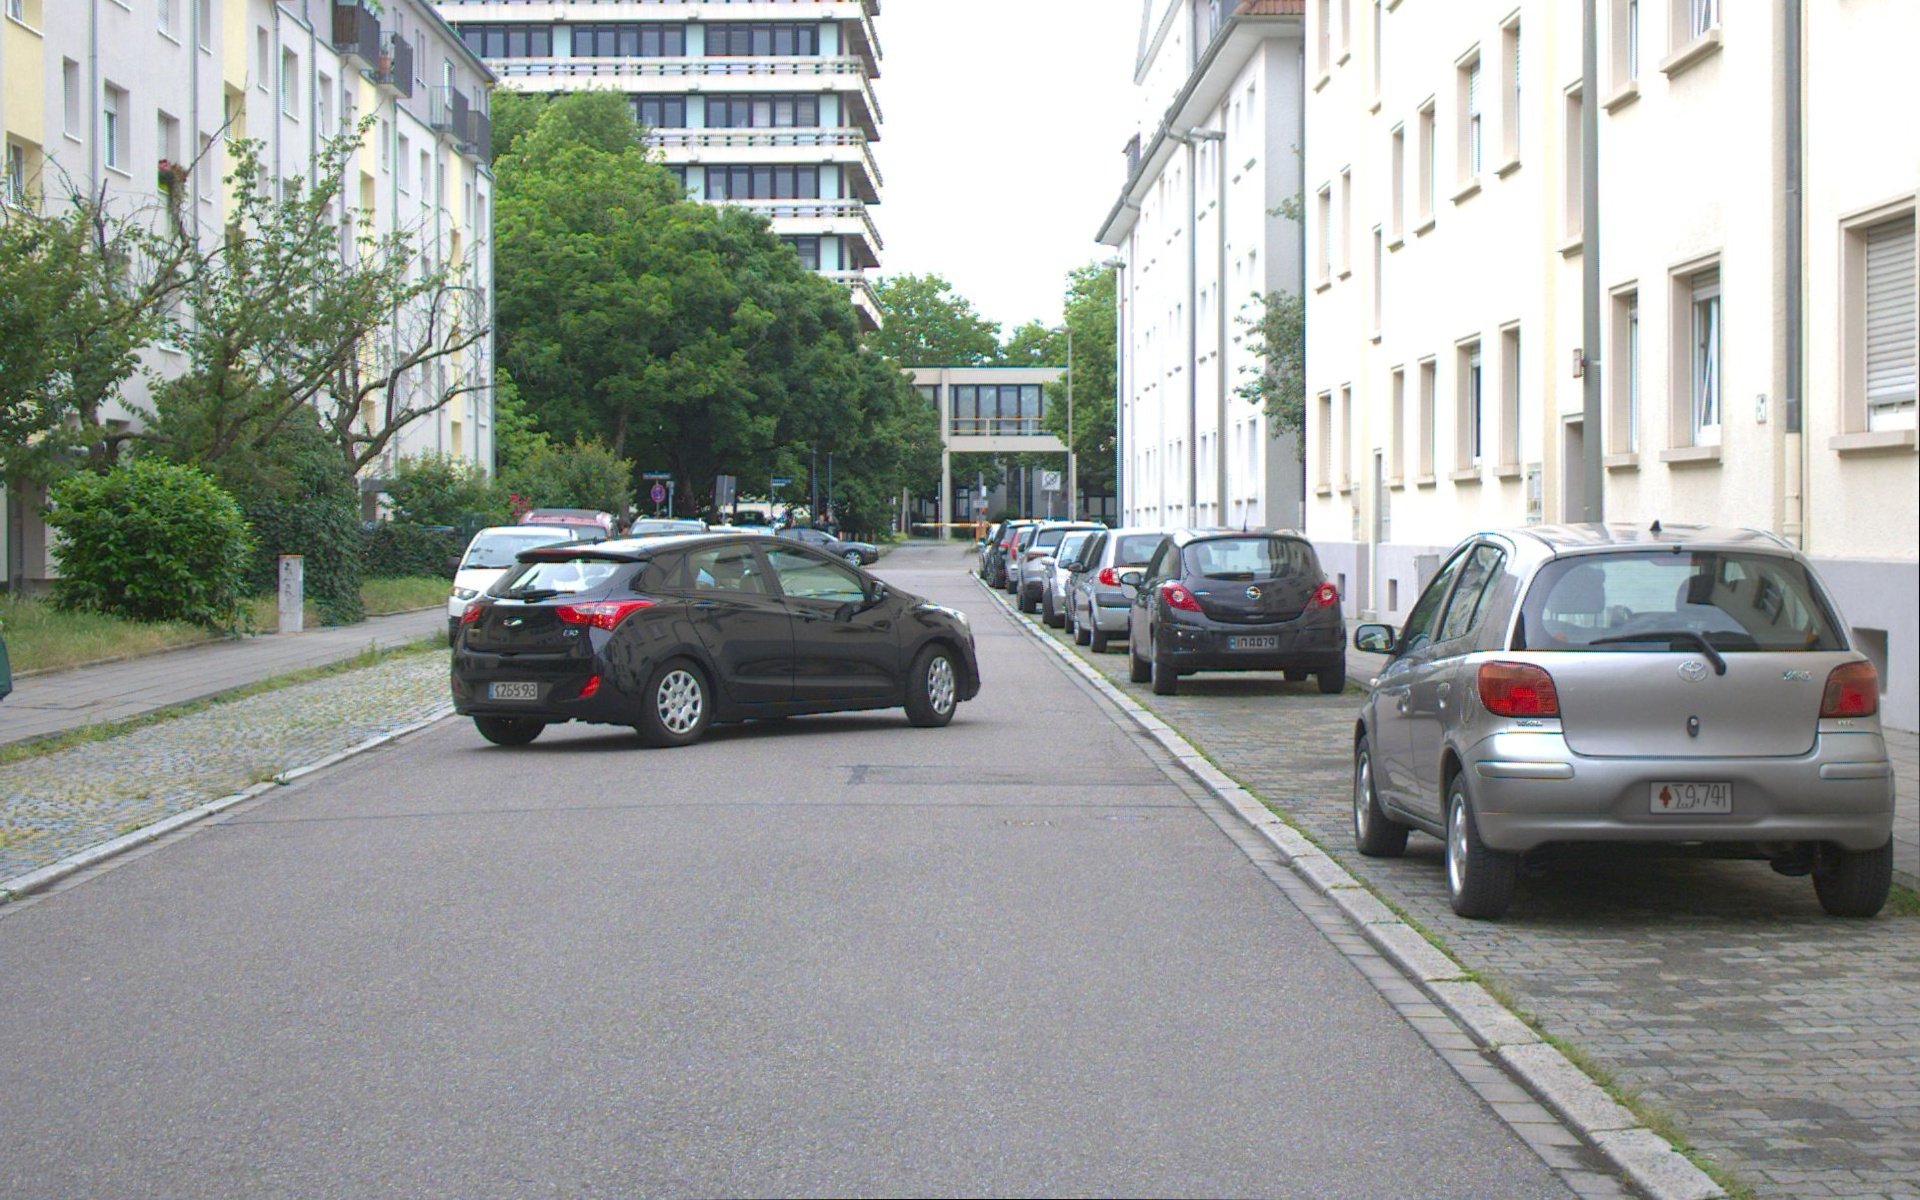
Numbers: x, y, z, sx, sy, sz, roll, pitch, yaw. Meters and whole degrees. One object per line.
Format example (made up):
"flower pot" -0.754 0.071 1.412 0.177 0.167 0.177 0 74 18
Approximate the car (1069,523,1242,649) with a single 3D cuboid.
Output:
"car" 2.324 -0.202 41.675 1.848 1.445 3.833 0 1 0

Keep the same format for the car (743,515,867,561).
"car" -5.212 -2.095 116.080 4.143 1.492 1.811 0 1 -2

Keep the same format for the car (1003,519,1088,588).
"car" 1.896 -1.064 77.230 1.820 1.498 4.091 0 1 0

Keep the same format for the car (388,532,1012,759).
"car" -1.756 0.254 24.317 1.908 1.428 4.222 1 2 43

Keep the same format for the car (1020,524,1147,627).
"car" 1.830 -0.405 52.068 1.725 1.471 4.505 1 1 0

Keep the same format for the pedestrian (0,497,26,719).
"pedestrian" -7.383 0.053 25.321 0.799 1.604 0.947 -1 1 -5

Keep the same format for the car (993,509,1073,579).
"car" 1.714 -1.347 81.840 1.820 1.597 4.091 0 1 0

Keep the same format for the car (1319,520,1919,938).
"car" 2.636 0.424 14.590 1.725 1.512 4.061 -1 1 -1

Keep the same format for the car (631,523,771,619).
"car" -4.099 -0.493 55.075 1.845 1.446 4.501 1 1 1

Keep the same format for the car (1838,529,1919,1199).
"car" 2.571 0.657 4.531 1.725 1.487 4.061 0 1 -1

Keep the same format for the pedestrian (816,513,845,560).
"pedestrian" -4.577 -2.250 121.734 0.972 1.648 0.981 -1 1 -1

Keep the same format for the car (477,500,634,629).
"car" -5.796 -0.546 49.691 1.956 1.764 4.362 1 1 -3

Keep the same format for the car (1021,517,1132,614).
"car" 2.027 -0.638 60.837 1.820 1.636 4.091 1 1 0

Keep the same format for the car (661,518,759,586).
"car" -5.667 -1.116 78.364 1.895 1.447 4.521 2 1 -1

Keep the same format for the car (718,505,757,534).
"car" -10.540 -3.835 163.341 1.665 1.328 3.396 0 2 -1

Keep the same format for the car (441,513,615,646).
"car" -5.447 -0.298 43.736 1.720 1.564 3.871 2 1 -1

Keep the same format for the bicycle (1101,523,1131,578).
"bicycle" 3.430 -1.099 75.491 0.530 1.171 2.036 -1 1 5

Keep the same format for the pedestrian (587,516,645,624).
"pedestrian" -5.495 -0.485 54.847 0.740 1.696 0.796 -1 1 -18

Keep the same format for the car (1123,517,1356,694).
"car" 2.475 0.001 31.307 1.725 1.512 4.061 0 1 -1

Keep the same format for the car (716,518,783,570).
"car" -6.410 -1.736 105.157 1.993 1.535 4.001 1 1 -3
